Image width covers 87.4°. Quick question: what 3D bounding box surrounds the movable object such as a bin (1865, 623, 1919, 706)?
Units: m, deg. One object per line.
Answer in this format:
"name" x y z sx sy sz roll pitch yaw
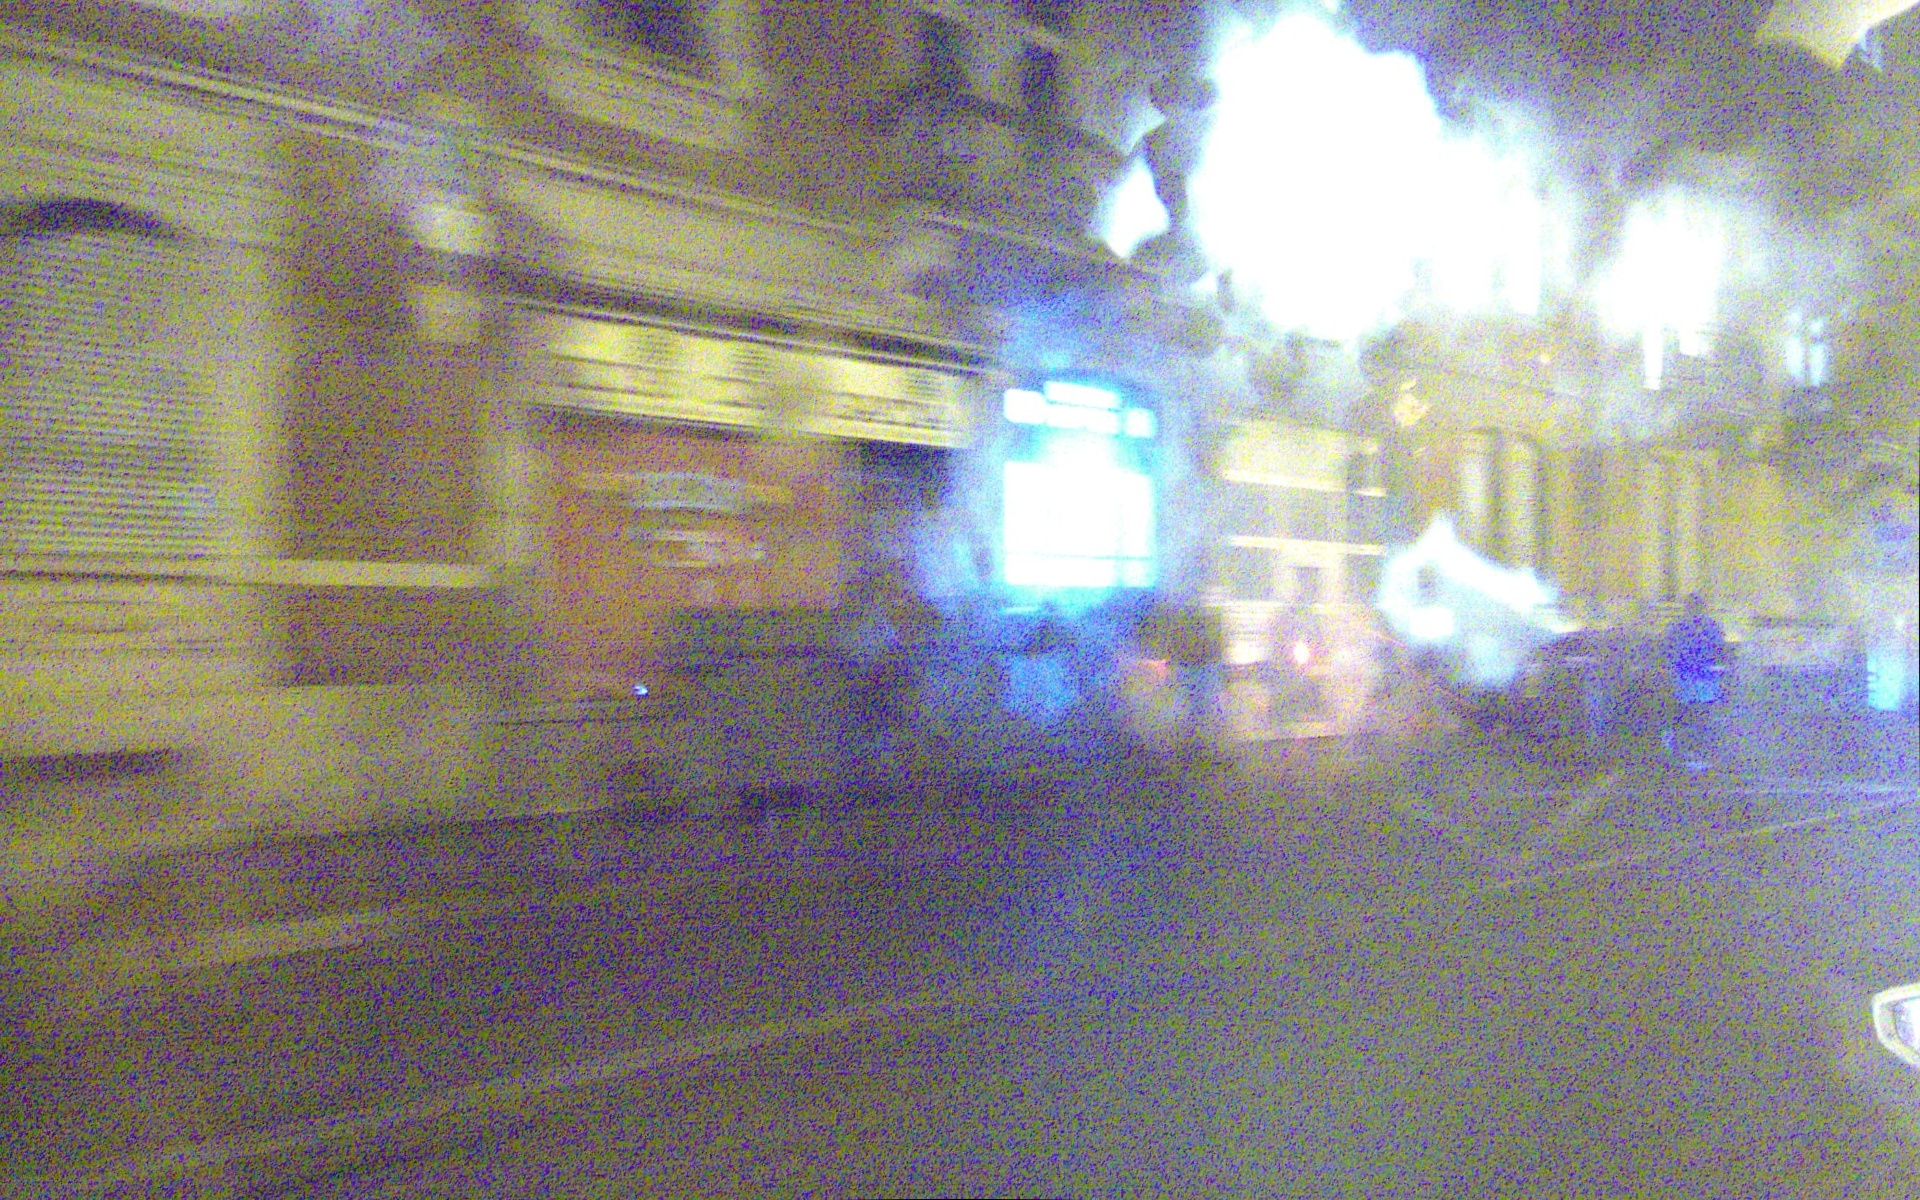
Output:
"movable object such as a bin" 17.213 1.156 18.064 1.143 1.417 1.043 1 1 -27

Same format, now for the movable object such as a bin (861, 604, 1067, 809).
"movable object such as a bin" 0.007 0.779 7.995 1.232 1.439 1.136 1 1 -27

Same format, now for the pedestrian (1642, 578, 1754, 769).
"pedestrian" 7.463 0.715 10.165 0.785 1.845 0.588 1 2 -30

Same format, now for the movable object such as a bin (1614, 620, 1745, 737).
"movable object such as a bin" 9.423 0.990 13.166 1.119 1.417 0.971 1 1 -27

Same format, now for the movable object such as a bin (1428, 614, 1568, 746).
"movable object such as a bin" 6.327 0.901 11.843 1.119 1.439 0.971 1 1 -27

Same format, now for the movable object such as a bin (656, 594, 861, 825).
"movable object such as a bin" -1.449 0.697 7.095 1.139 1.439 1.136 1 1 -27

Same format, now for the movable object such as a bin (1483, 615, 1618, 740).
"movable object such as a bin" 7.350 0.935 12.525 1.119 1.439 0.971 1 1 -27
